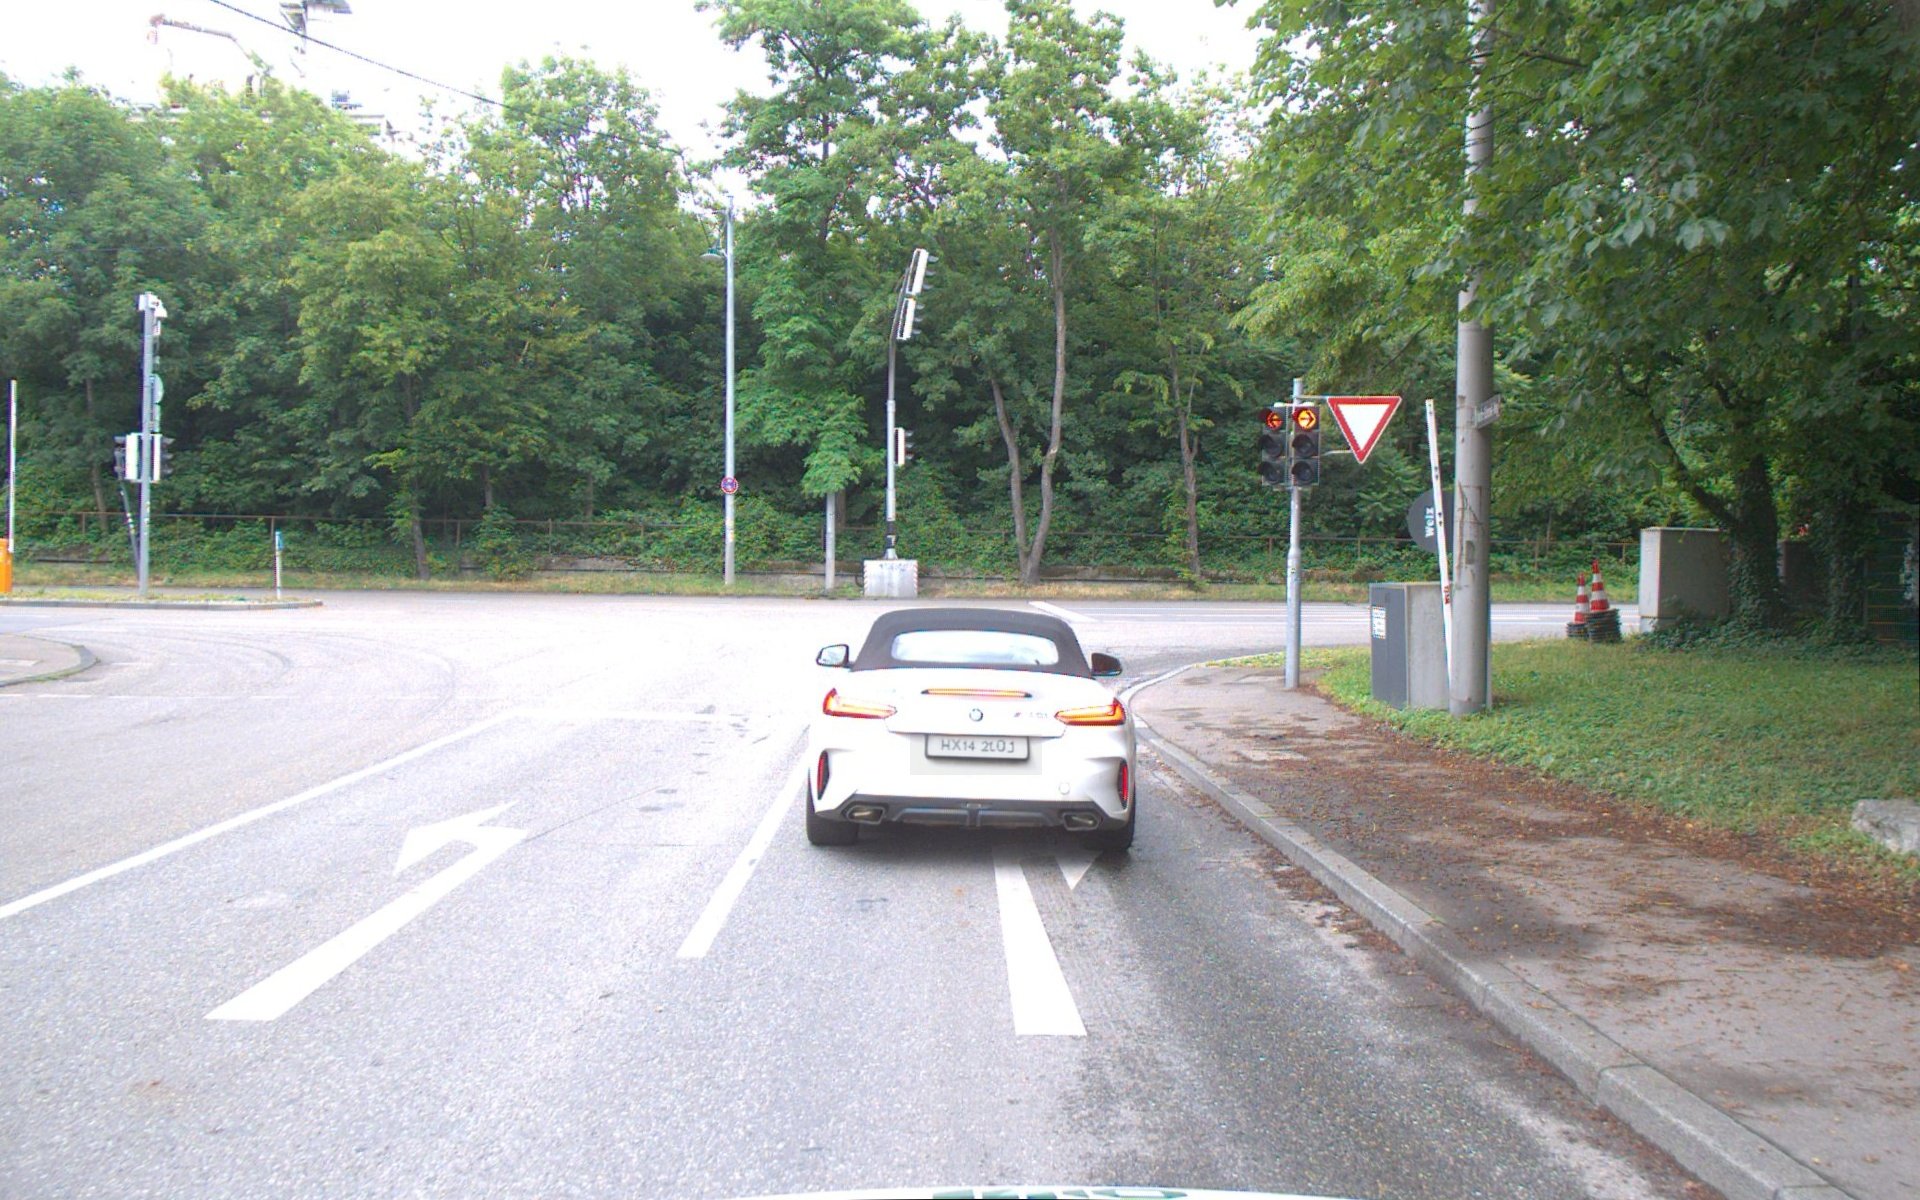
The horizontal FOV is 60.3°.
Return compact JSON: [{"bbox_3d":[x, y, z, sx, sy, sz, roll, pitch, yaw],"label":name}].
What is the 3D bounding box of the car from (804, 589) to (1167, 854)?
[{"bbox_3d":[0.035,0.639,10.292,1.791,1.279,3.997,2,-1,-3],"label":"car"}]
